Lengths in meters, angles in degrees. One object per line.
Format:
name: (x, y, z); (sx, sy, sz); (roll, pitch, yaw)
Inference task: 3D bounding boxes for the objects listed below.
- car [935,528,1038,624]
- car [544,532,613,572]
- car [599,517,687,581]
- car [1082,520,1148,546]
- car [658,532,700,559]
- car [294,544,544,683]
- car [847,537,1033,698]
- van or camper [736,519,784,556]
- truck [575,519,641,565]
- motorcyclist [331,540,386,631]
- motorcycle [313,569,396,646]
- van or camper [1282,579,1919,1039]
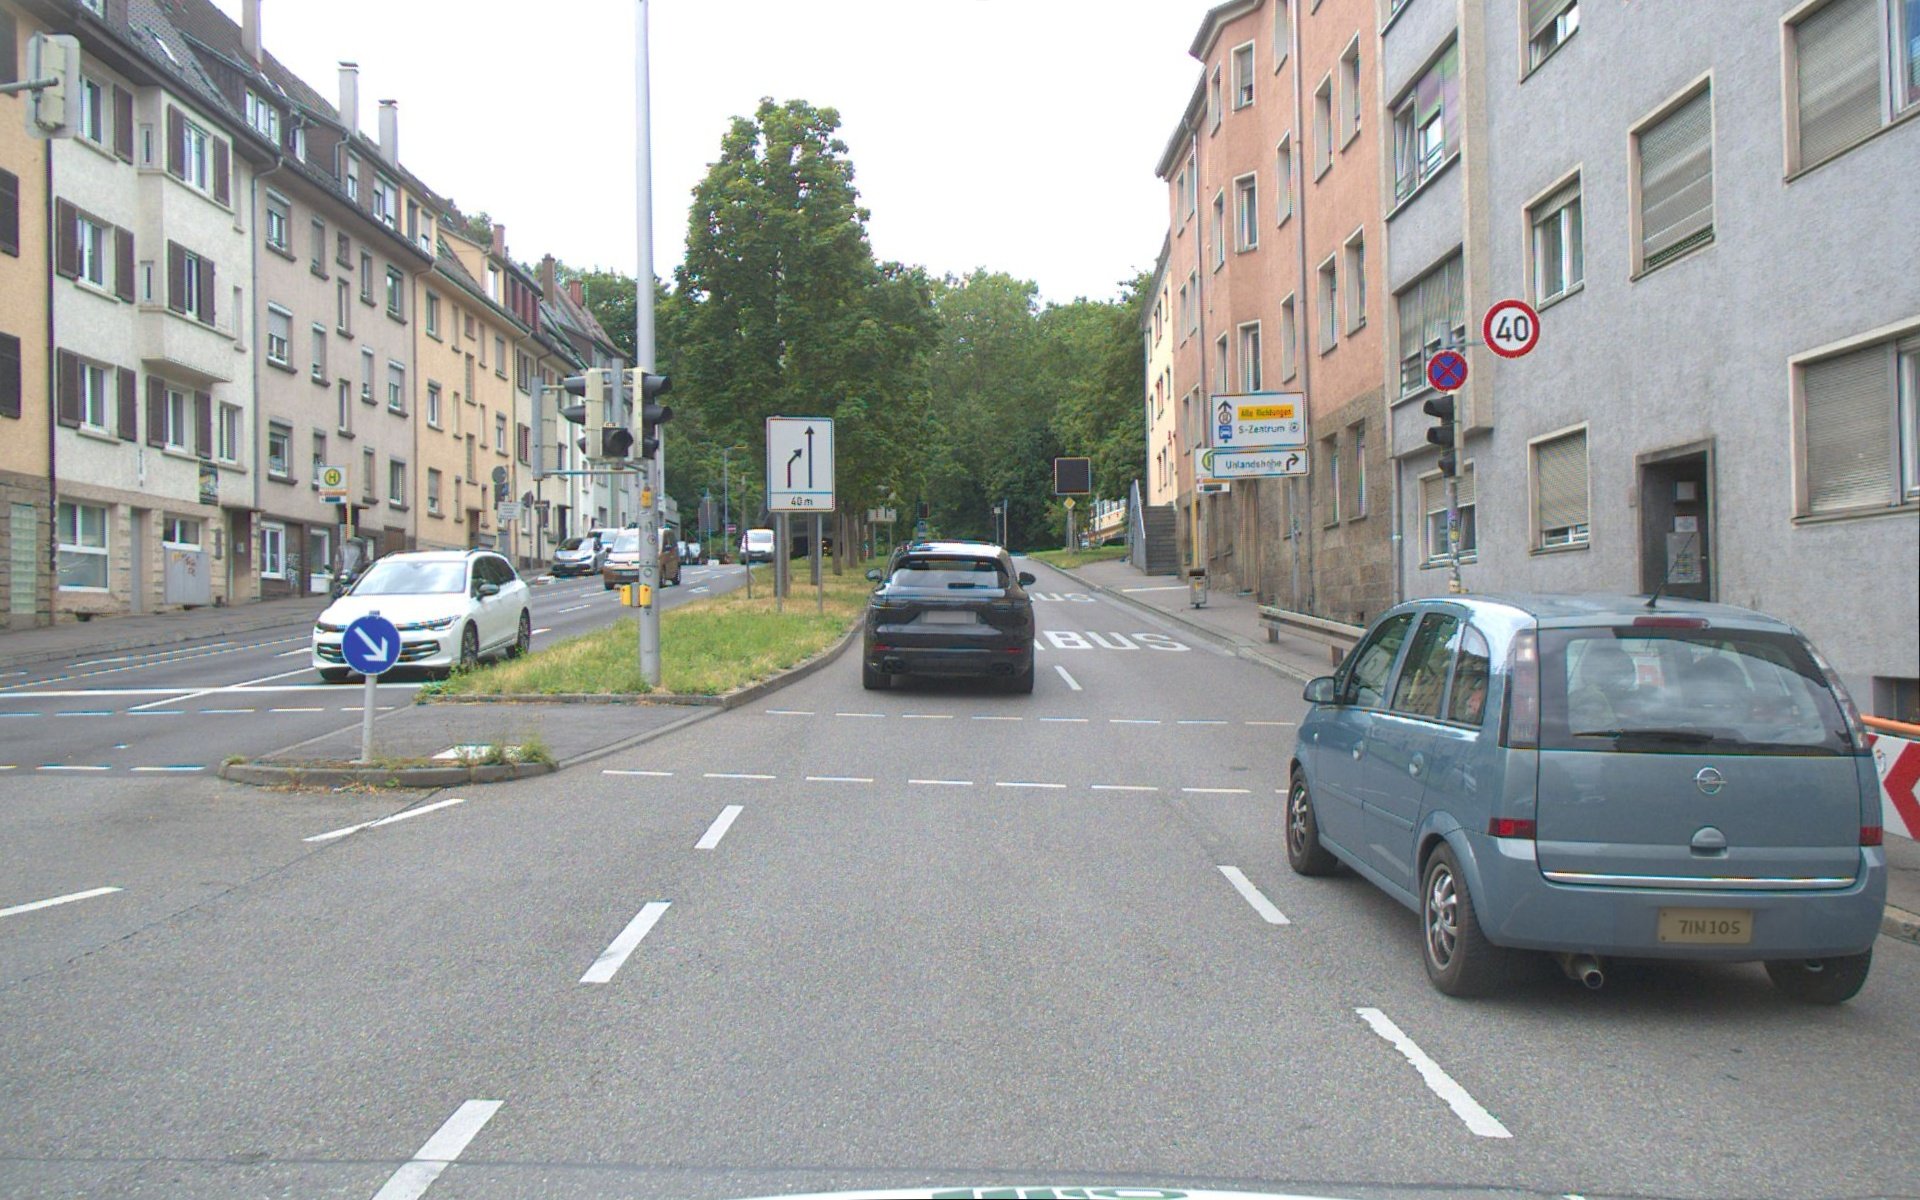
car: (0.524, -0.534, 32.879); (1.894, 1.681, 4.002); (-1, 3, 1)
car: (-15.746, -1.995, 68.389); (1.953, 1.579, 4.158); (-1, 2, -2)
car: (-9.692, -1.570, 50.915); (1.841, 1.847, 4.352); (1, 2, 0)
car: (9.302, -4.040, 99.100); (1.966, 1.442, 3.974); (1, 3, 44)
car: (-16.036, -3.125, 94.588); (1.954, 1.447, 4.209); (-1, 2, -4)
car: (-6.655, 0.072, 20.887); (1.710, 1.492, 4.586); (-1, 3, -1)
car: (-0.185, 0.121, 19.798); (1.952, 1.682, 4.001); (-1, 2, 1)
van or camper: (-10.318, -3.208, 85.592); (1.869, 1.792, 4.655); (1, 2, 0)
truck: (-15.883, -2.645, 74.840); (1.953, 1.953, 5.347); (-1, 2, -2)
motorcyclist: (-10.046, -0.244, 27.624); (0.659, 1.501, 0.662); (0, 1, 0)
motorcycle: (-10.076, 0.106, 27.599); (0.533, 1.205, 2.206); (0, 2, 1)
van or camper: (2.759, 0.732, 7.747); (1.700, 1.605, 3.645); (1, 1, -1)
